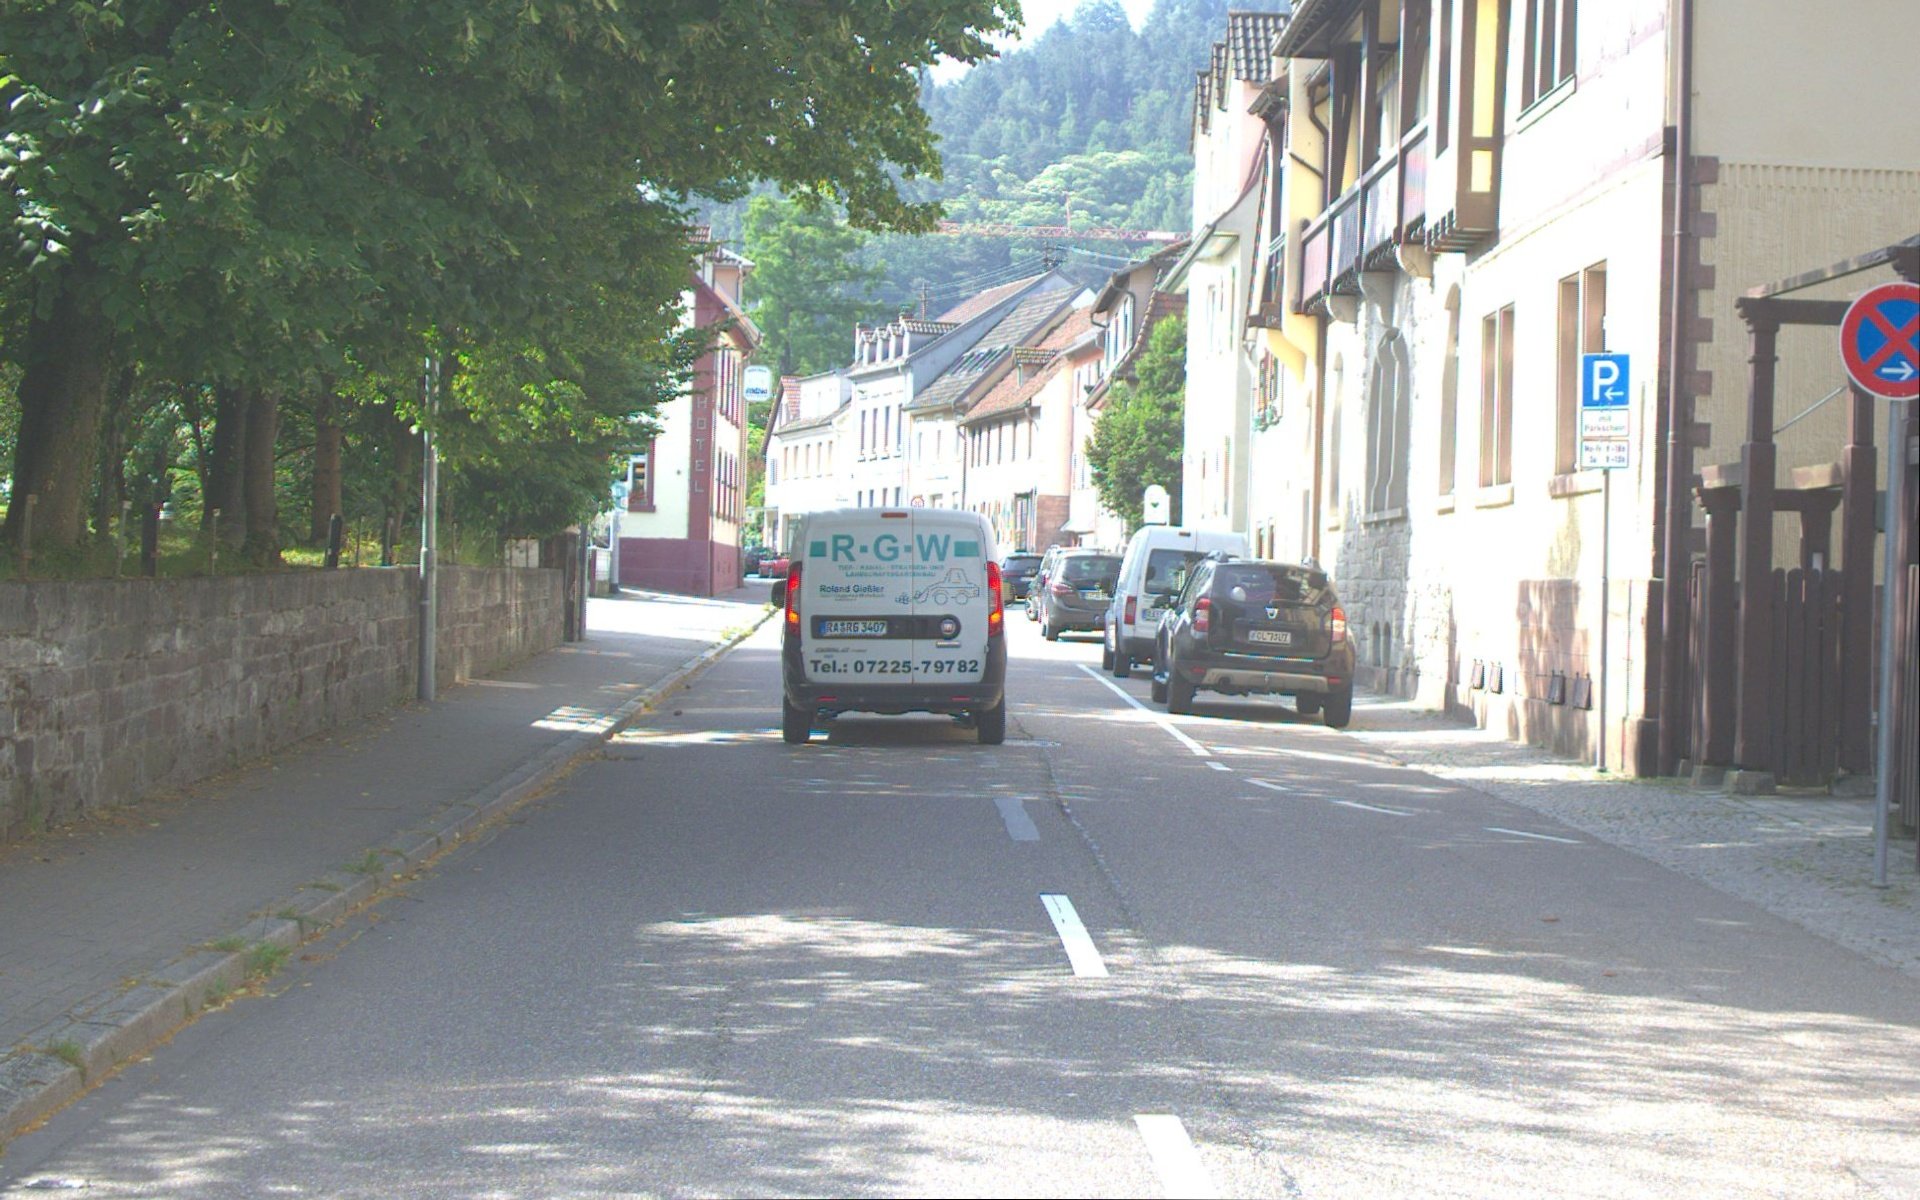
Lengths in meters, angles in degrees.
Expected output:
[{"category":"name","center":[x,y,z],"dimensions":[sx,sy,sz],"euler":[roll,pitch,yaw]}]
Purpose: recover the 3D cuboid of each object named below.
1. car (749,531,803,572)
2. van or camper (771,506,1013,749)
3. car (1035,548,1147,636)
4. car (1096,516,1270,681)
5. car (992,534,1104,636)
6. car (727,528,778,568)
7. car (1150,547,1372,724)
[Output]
[{"category":"car","center":[-8.305,-2.199,154.866],"dimensions":[1.771,1.793,4.001],"euler":[2,1,-12]},{"category":"van or camper","center":[-0.584,0.156,28.364],"dimensions":[1.828,1.838,4.189],"euler":[-1,1,-2]},{"category":"car","center":[2.327,-0.163,61.840],"dimensions":[1.669,1.503,4.000],"euler":[1,1,-3]},{"category":"car","center":[2.900,-0.042,45.484],"dimensions":[1.871,2.007,4.000],"euler":[3,1,-1]},{"category":"car","center":[1.807,-0.320,71.750],"dimensions":[1.993,2.007,4.000],"euler":[2,1,-3]},{"category":"car","center":[-9.744,-2.452,161.390],"dimensions":[1.771,1.793,4.001],"euler":[2,1,-12]},{"category":"car","center":[3.028,0.312,35.325],"dimensions":[1.810,1.591,3.927],"euler":[4,1,0]}]
